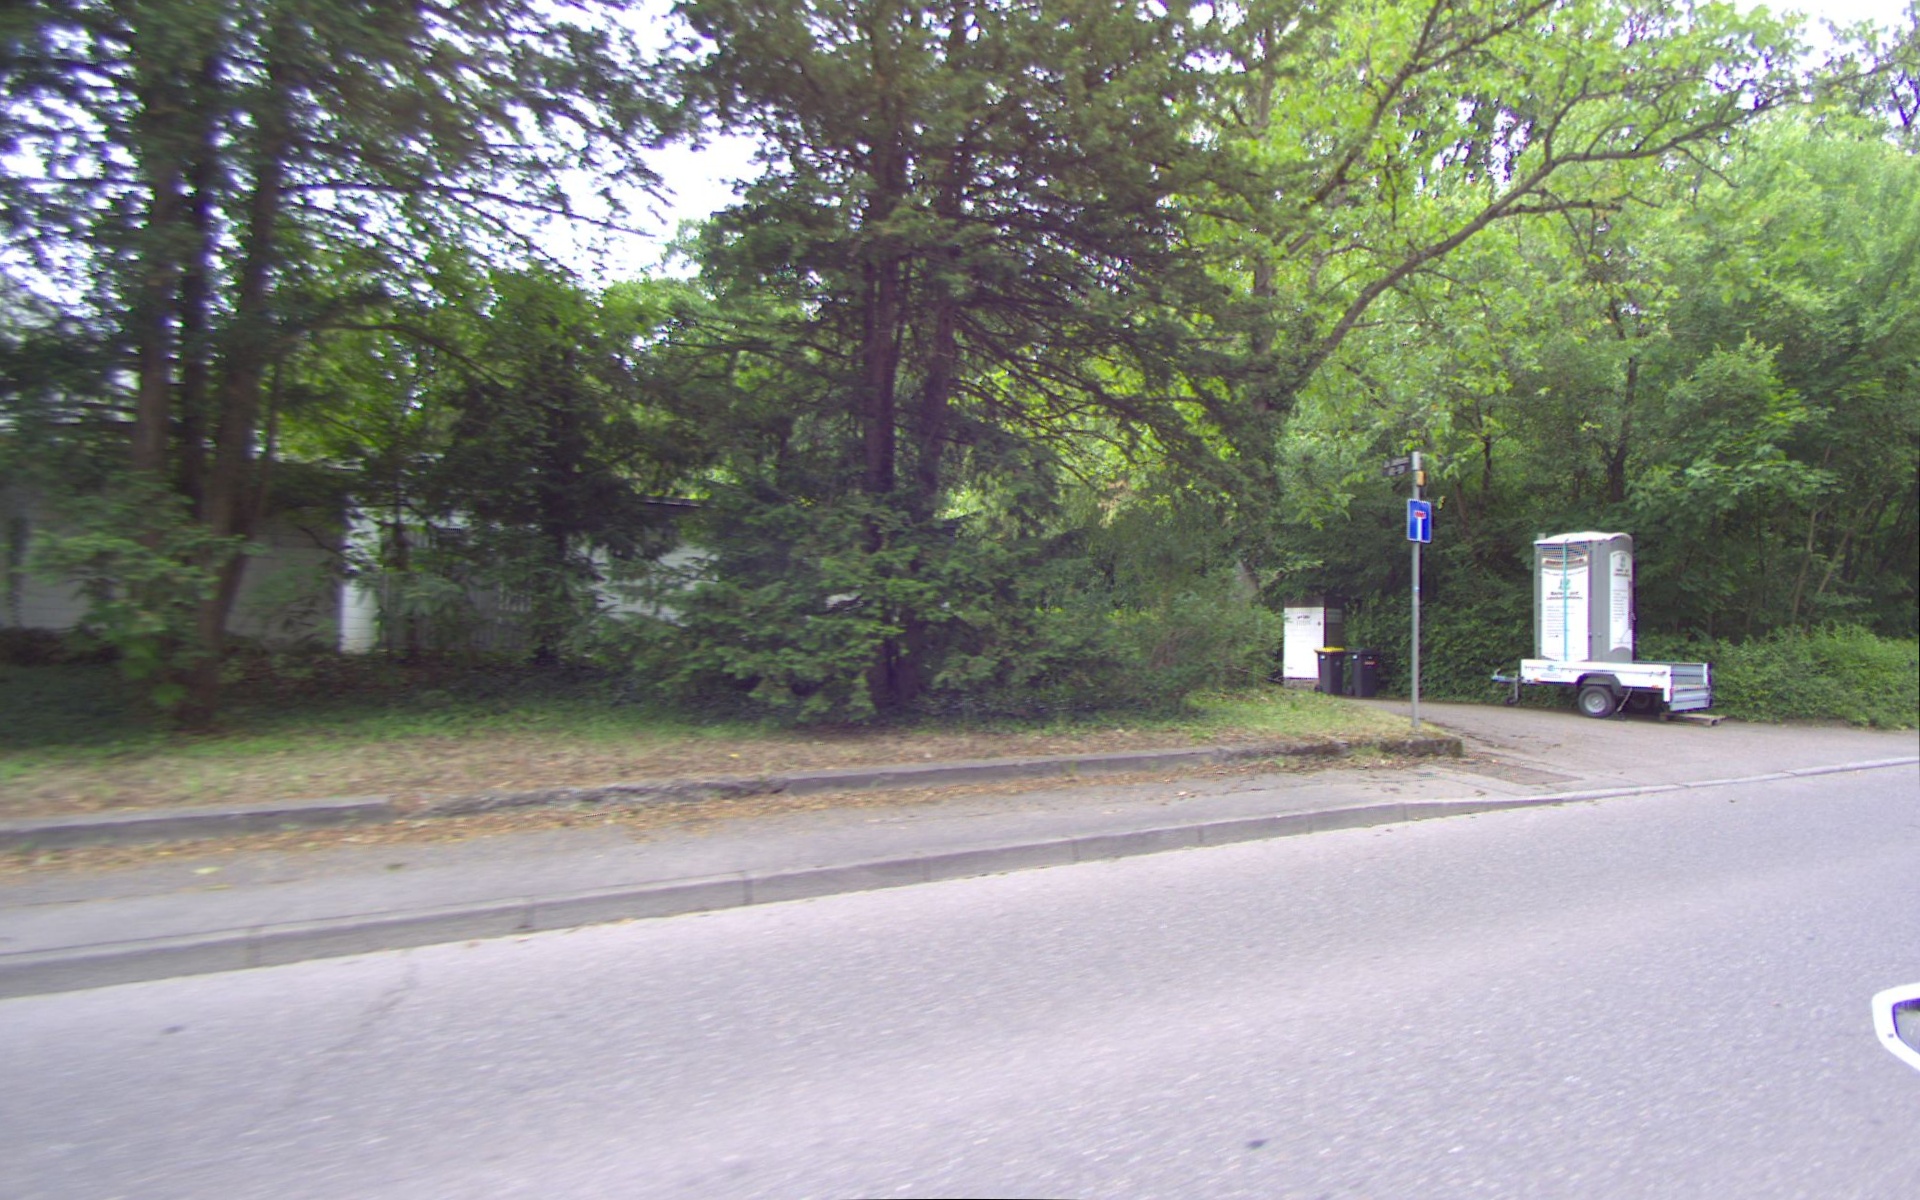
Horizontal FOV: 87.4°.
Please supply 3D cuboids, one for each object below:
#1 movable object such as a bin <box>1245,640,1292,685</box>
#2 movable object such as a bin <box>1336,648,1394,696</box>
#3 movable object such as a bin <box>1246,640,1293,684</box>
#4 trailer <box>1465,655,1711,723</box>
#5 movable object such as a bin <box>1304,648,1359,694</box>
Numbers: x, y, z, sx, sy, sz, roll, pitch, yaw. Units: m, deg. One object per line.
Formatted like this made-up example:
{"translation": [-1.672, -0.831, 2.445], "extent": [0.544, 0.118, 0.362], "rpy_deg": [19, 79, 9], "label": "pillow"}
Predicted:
{"translation": [7.254, 1.470, 23.630], "extent": [0.847, 1.018, 0.631], "rpy_deg": [1, -1, -23], "label": "movable object such as a bin"}
{"translation": [7.887, 1.392, 19.580], "extent": [0.847, 0.888, 0.631], "rpy_deg": [1, -1, -23], "label": "movable object such as a bin"}
{"translation": [7.327, 1.467, 23.778], "extent": [0.847, 1.018, 0.631], "rpy_deg": [1, -1, -23], "label": "movable object such as a bin"}
{"translation": [9.612, 1.317, 15.504], "extent": [1.463, 0.839, 2.931], "rpy_deg": [2, -2, -39], "label": "trailer"}
{"translation": [7.460, 1.417, 20.177], "extent": [0.847, 0.888, 0.631], "rpy_deg": [1, -1, -23], "label": "movable object such as a bin"}
